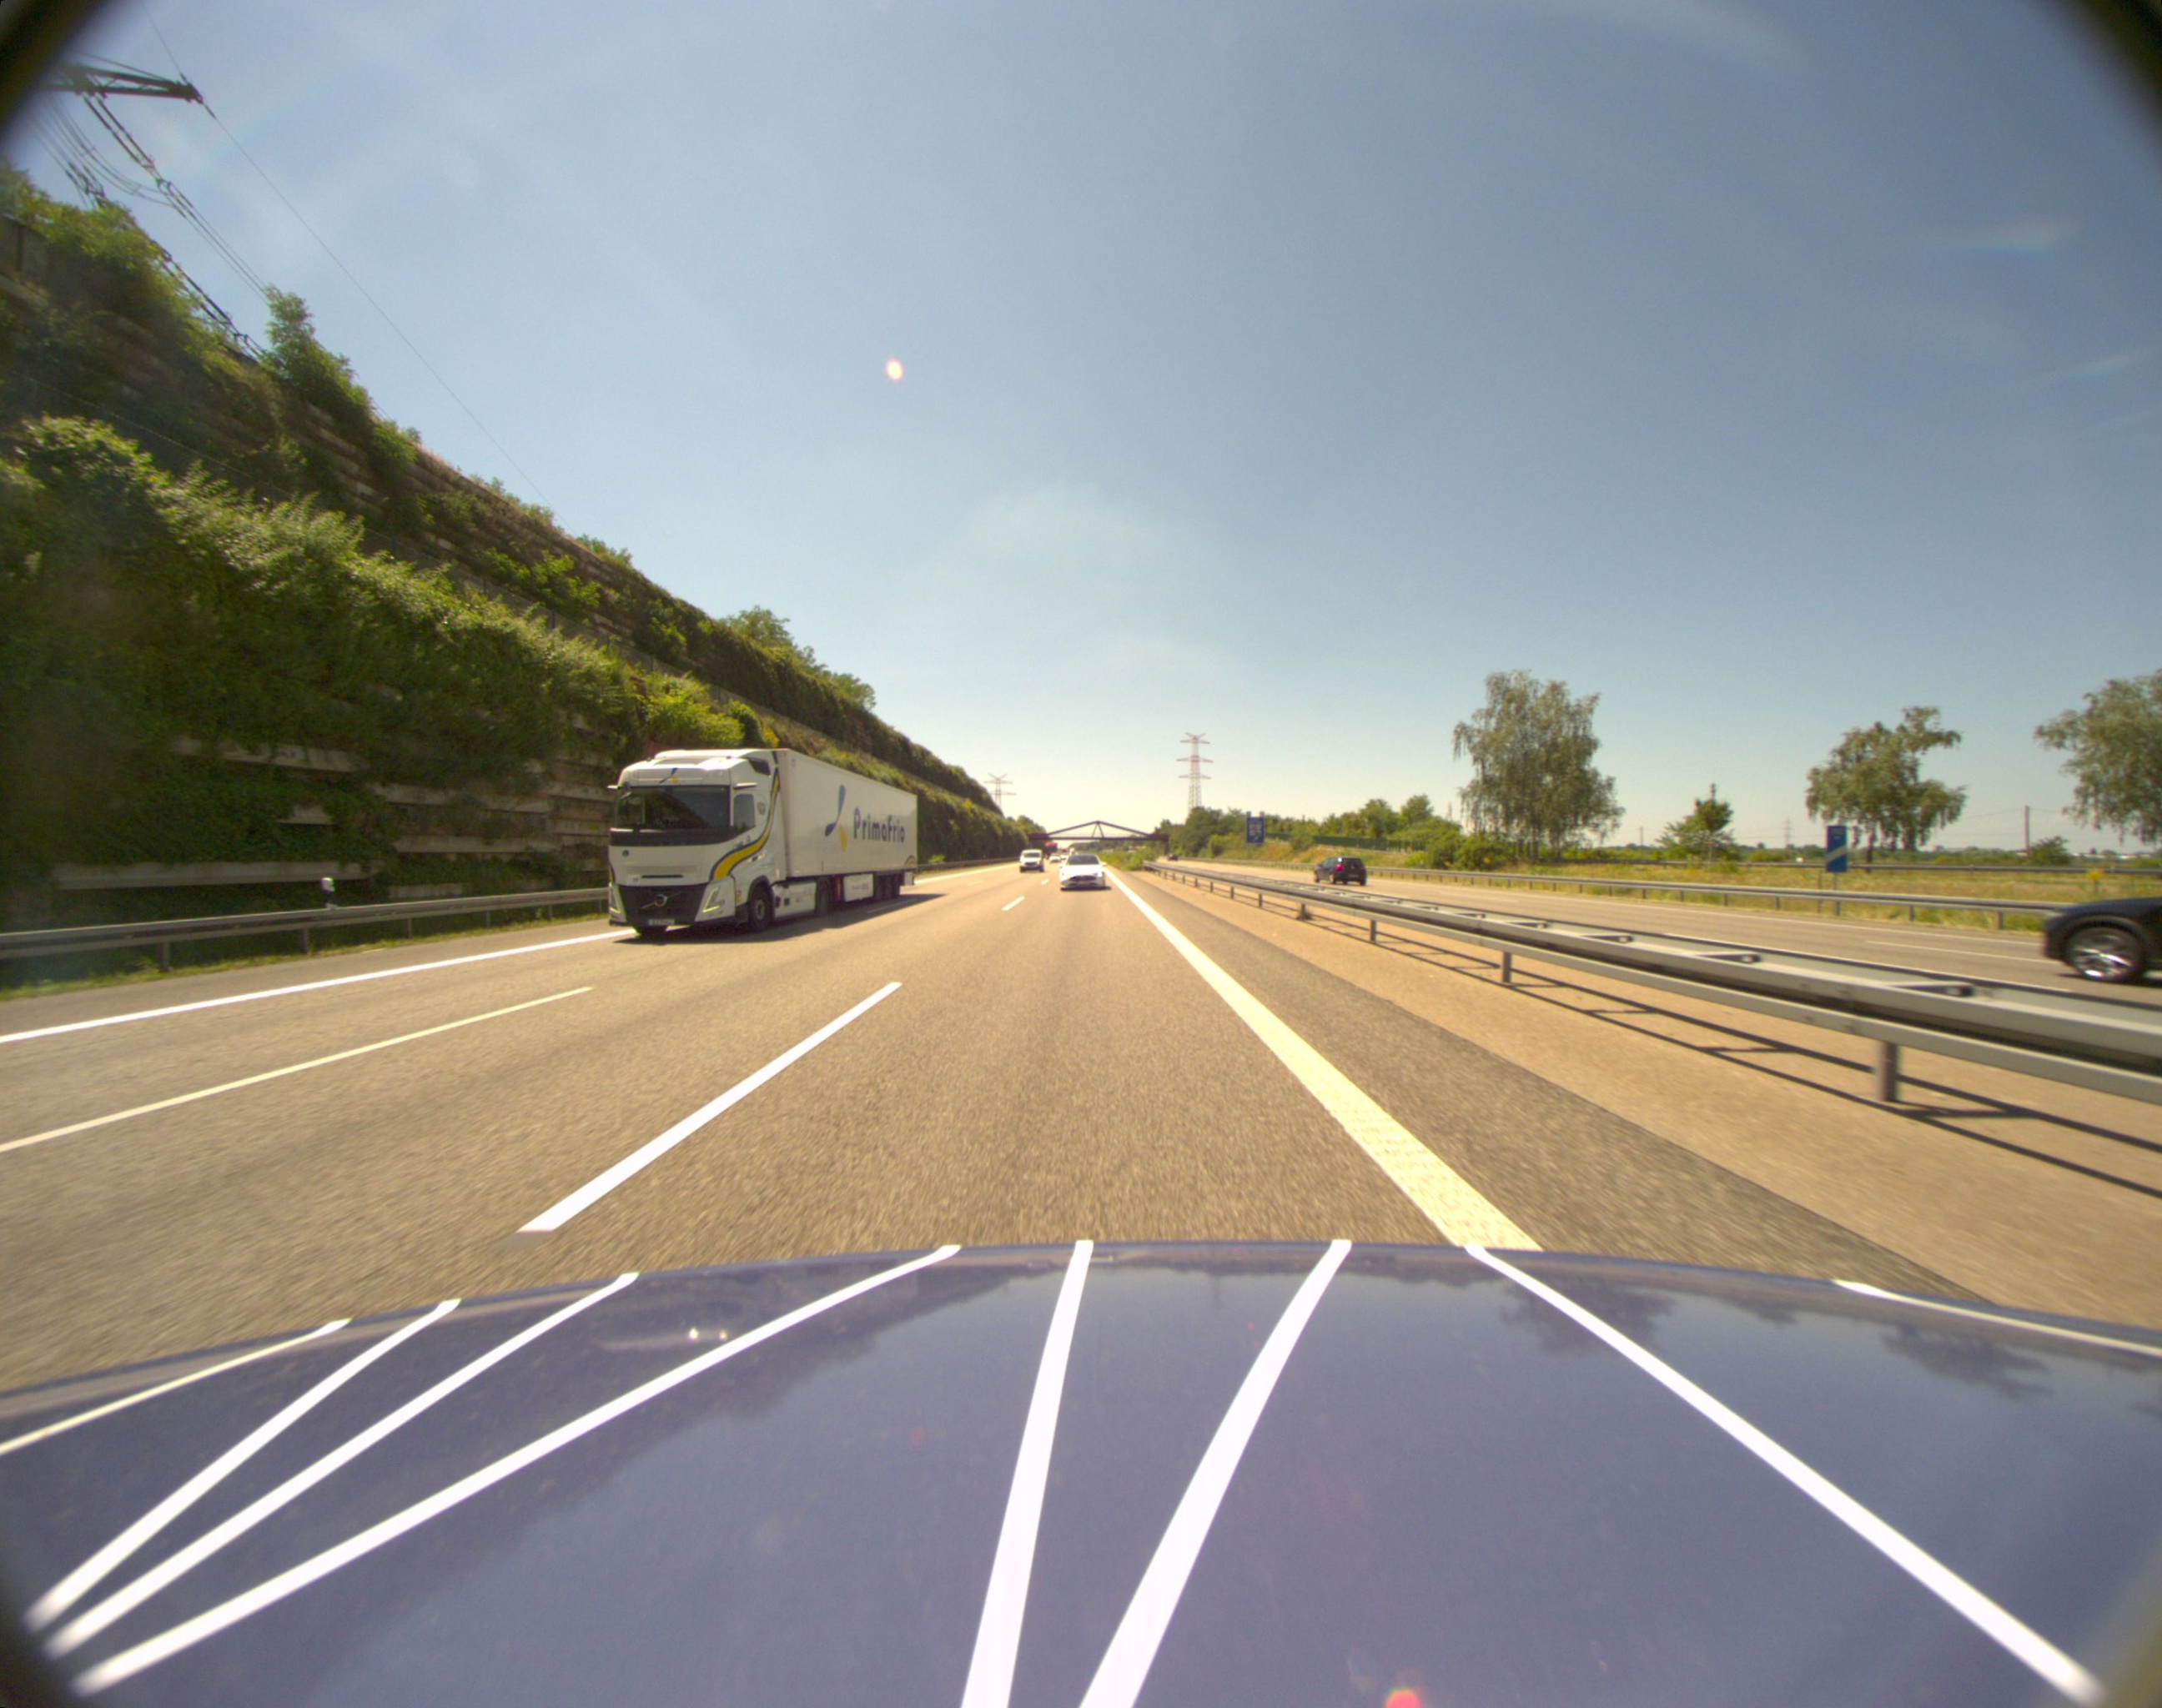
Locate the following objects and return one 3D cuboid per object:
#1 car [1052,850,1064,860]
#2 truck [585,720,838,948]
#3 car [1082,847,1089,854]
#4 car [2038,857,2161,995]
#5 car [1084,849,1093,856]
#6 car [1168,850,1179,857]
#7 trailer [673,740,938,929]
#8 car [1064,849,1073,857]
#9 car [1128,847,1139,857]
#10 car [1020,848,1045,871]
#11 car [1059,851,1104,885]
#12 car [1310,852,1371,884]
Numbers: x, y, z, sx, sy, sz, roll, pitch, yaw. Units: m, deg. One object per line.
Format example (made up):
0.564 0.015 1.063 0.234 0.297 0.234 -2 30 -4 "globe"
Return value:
-3.396 0.163 112.806 1.784 1.475 3.999 -1 1 -1 "car"
-7.813 -0.405 17.139 2.514 4.196 6.255 0 1 1 "truck"
1.375 -1.019 222.682 1.998 2.002 3.999 -2 1 1 "car"
13.720 0.907 7.926 1.845 1.620 4.413 2 1 1 "car"
1.513 -0.295 155.779 1.784 1.475 3.999 0 1 -1 "car"
18.973 -0.125 156.297 1.545 1.441 4.798 1 1 0 "car"
-7.742 -0.480 25.469 2.521 4.187 17.025 -1 0 0 "trailer"
-2.489 -0.248 154.358 1.784 1.475 3.999 -1 1 -1 "car"
10.181 -0.316 146.879 1.767 1.914 4.770 0 1 0 "car"
-3.947 0.395 62.203 1.784 1.783 3.999 -1 1 -1 "car"
-0.001 0.620 35.545 1.999 1.474 4.107 -1 1 -1 "car"
13.494 0.695 39.822 1.622 1.452 4.283 3 0 -1 "car"
